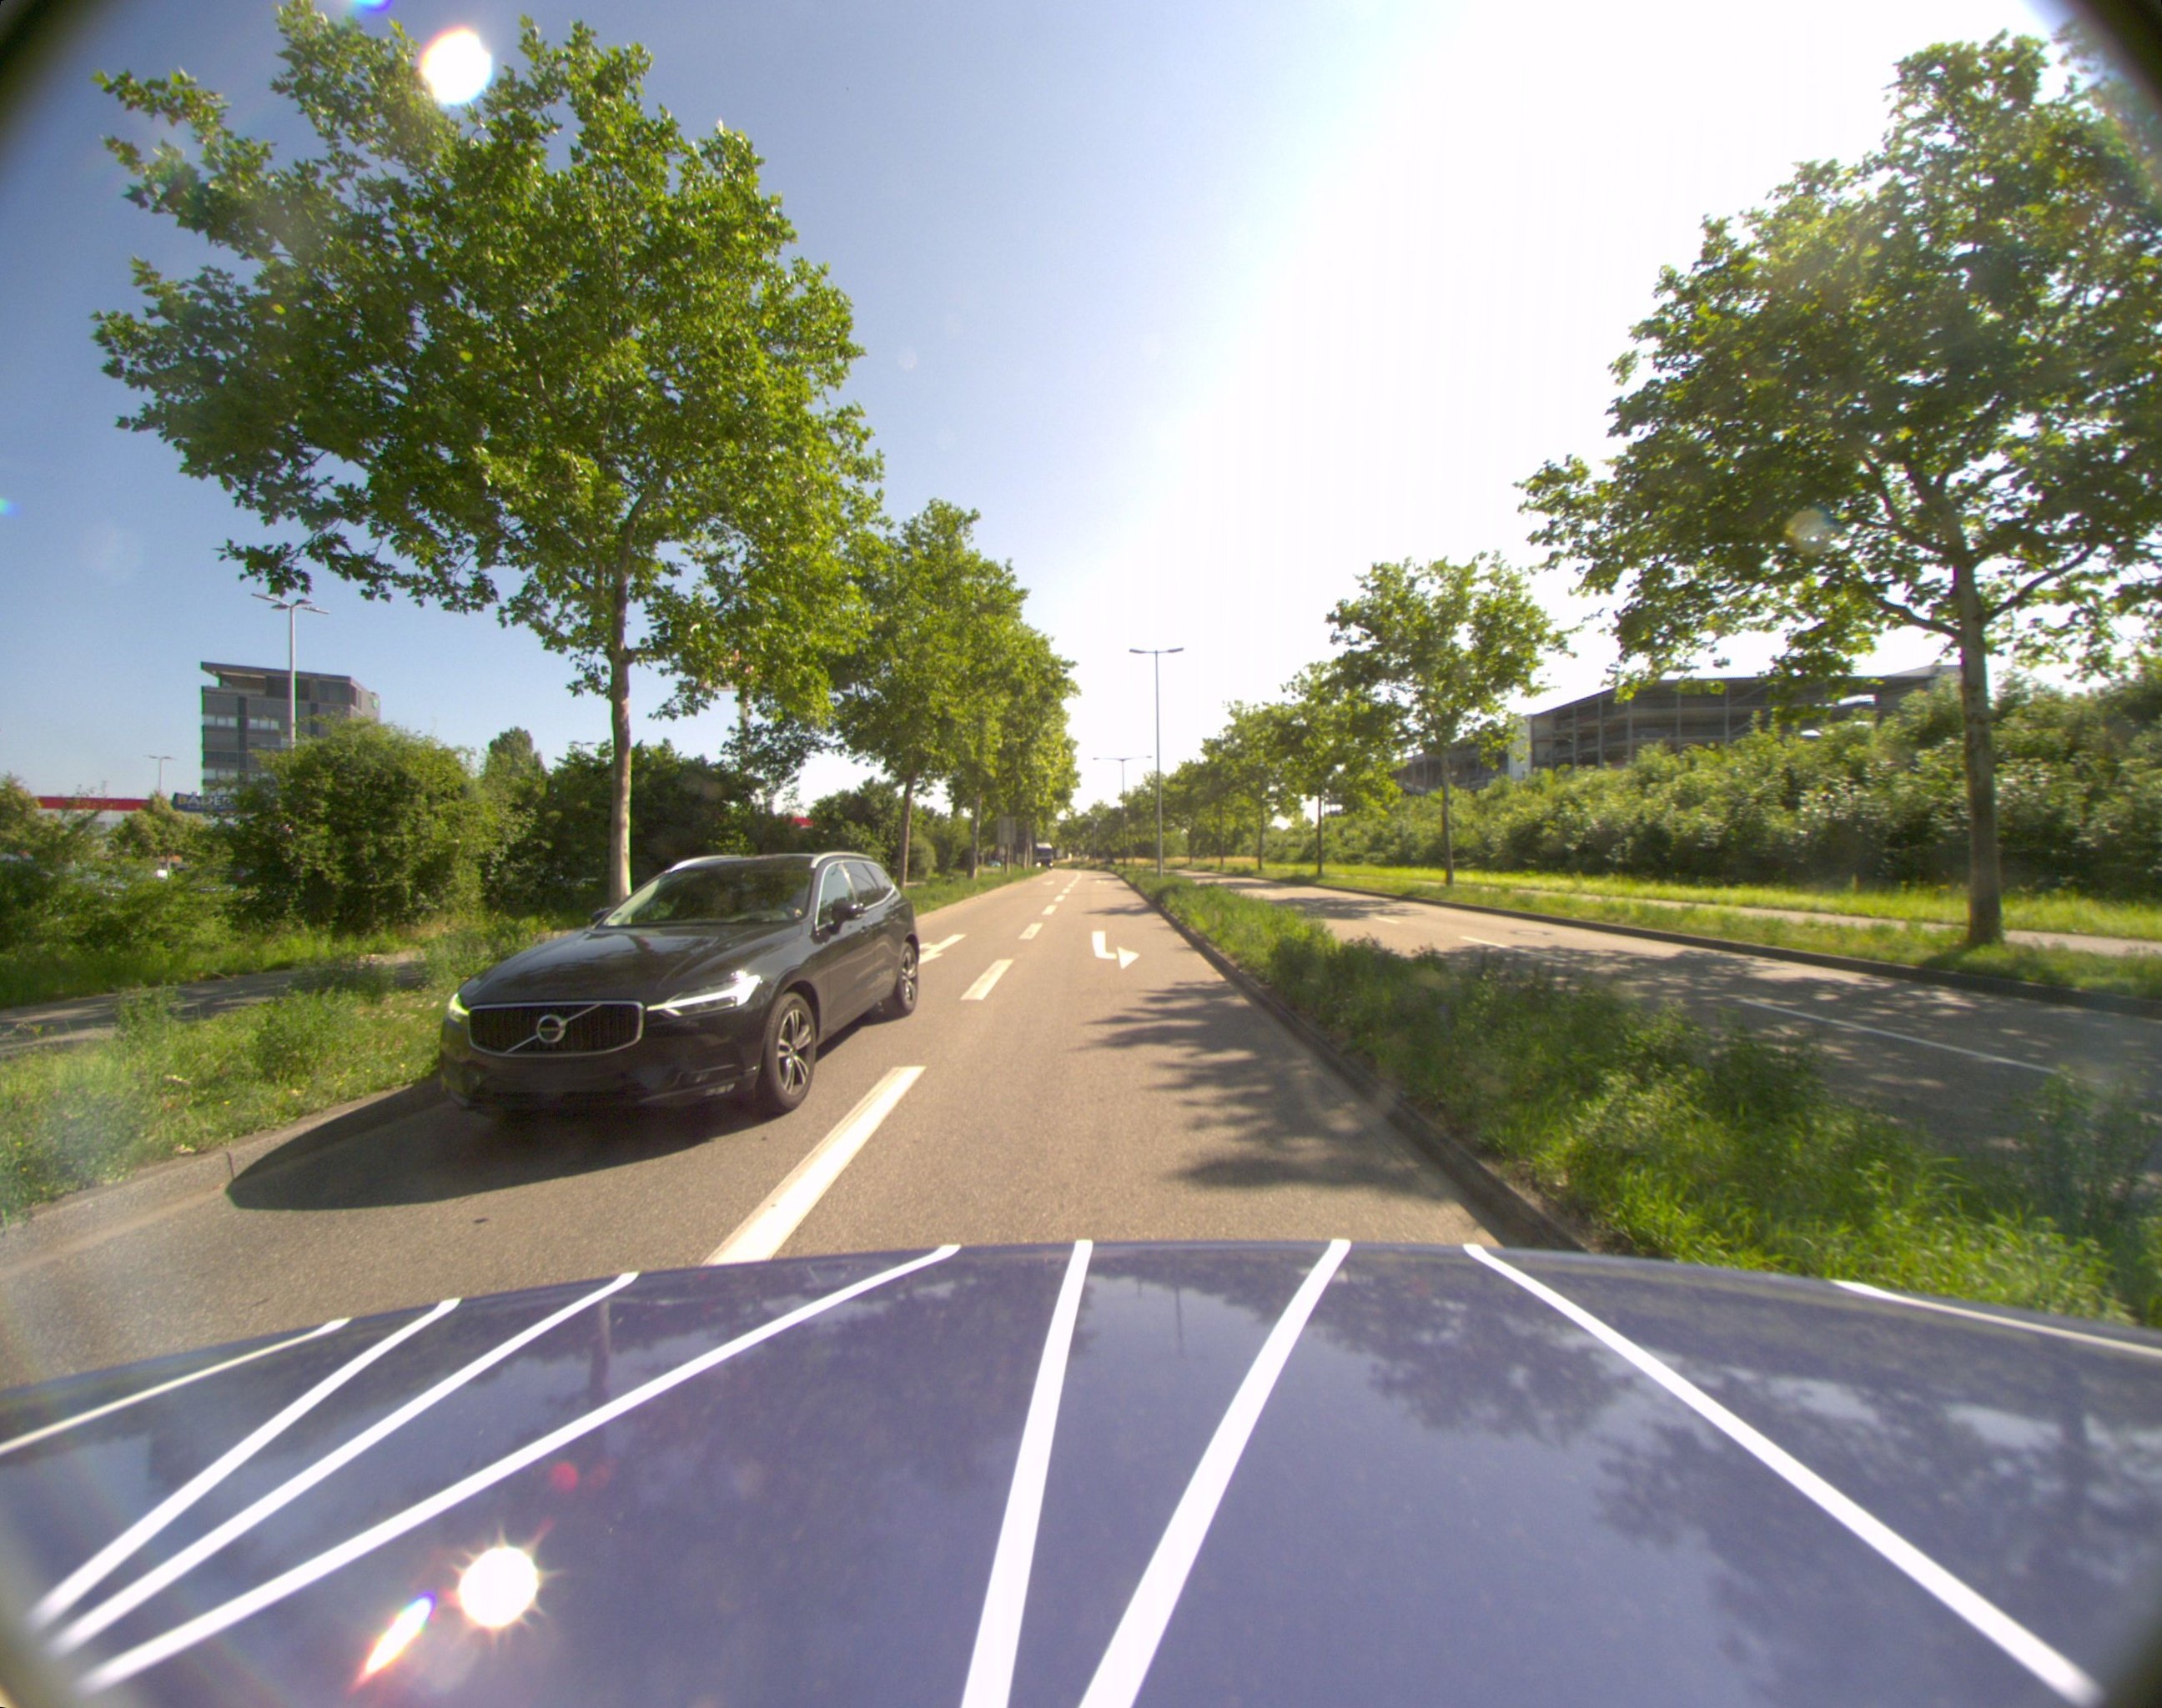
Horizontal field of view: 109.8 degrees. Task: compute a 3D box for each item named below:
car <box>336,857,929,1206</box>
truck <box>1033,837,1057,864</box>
[{"bbox_3d":[-2.657,0.885,6.016,1.924,1.613,4.564,-2,1,0],"label":"car"},{"bbox_3d":[-5.481,-0.565,114.856,2.743,3.872,5.846,-2,1,-9],"label":"truck"}]
